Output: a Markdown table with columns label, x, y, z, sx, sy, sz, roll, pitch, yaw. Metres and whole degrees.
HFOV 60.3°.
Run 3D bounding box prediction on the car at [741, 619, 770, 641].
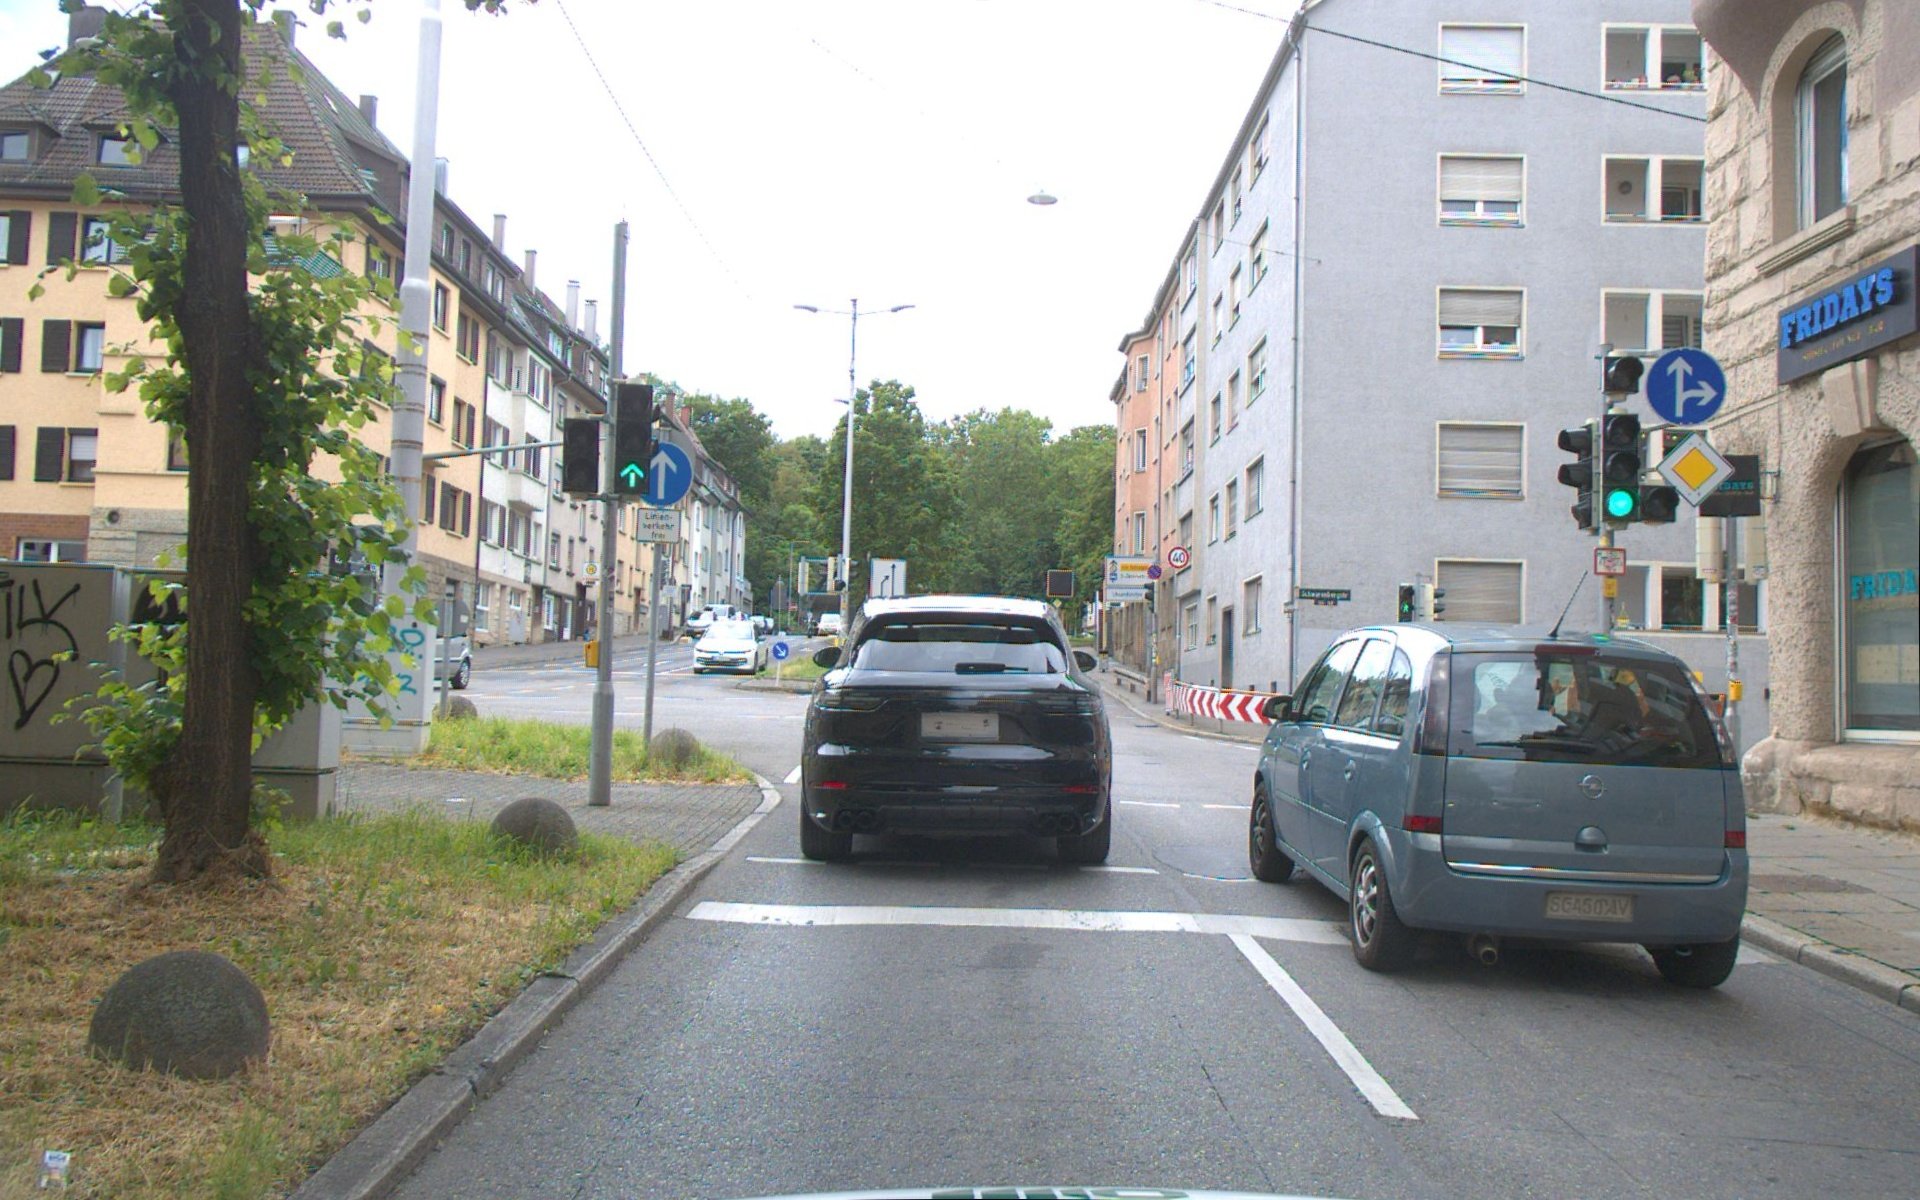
| label | x | y | z | sx | sy | sz | roll | pitch | yaw |
| --- | --- | --- | --- | --- | --- | --- | --- | --- | --- |
| car | -15.020 | 2.199 | 121.614 | 1.655 | 1.565 | 3.813 | 1 | -1 | 0 |

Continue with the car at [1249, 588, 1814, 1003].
| label | x | y | z | sx | sy | sz | roll | pitch | yaw |
| --- | --- | --- | --- | --- | --- | --- | --- | --- | --- |
| car | 2.723 | 0.845 | 8.767 | 1.596 | 1.625 | 3.668 | 4 | -1 | -1 |

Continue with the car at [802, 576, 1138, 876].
| label | x | y | z | sx | sy | sz | roll | pitch | yaw |
| --- | --- | --- | --- | --- | --- | --- | --- | --- | --- |
| car | 0.033 | 0.748 | 11.465 | 1.916 | 1.704 | 3.999 | 0 | -1 | -1 |

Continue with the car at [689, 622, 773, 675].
| label | x | y | z | sx | sy | sz | roll | pitch | yaw |
| --- | --- | --- | --- | --- | --- | --- | --- | --- | --- |
| car | -6.512 | 1.365 | 47.443 | 1.824 | 1.412 | 4.093 | 1 | -1 | 0 |

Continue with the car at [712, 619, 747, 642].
| label | x | y | z | sx | sy | sz | roll | pitch | yaw |
| --- | --- | --- | --- | --- | --- | --- | --- | --- | --- |
| car | -14.894 | 1.973 | 107.104 | 1.703 | 1.411 | 3.813 | 1 | -1 | 0 |

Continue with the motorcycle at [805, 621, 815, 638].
| label | x | y | z | sx | sy | sz | roll | pitch | yaw |
| --- | --- | --- | --- | --- | --- | --- | --- | --- | --- |
| motorcycle | -9.318 | 1.829 | 102.935 | 0.501 | 1.059 | 1.389 | 1 | -1 | 0 |

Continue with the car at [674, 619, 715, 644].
| label | x | y | z | sx | sy | sz | roll | pitch | yaw |
| --- | --- | --- | --- | --- | --- | --- | --- | --- | --- |
| car | -15.311 | 1.806 | 95.514 | 1.703 | 1.411 | 3.813 | 1 | -1 | 0 |

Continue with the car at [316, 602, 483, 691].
| label | x | y | z | sx | sy | sz | roll | pitch | yaw |
| --- | --- | --- | --- | --- | --- | --- | --- | --- | --- |
| car | -10.218 | 0.859 | 30.429 | 1.585 | 1.506 | 3.824 | 1 | -2 | 3 |

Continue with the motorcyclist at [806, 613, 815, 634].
| label | x | y | z | sx | sy | sz | roll | pitch | yaw |
| --- | --- | --- | --- | --- | --- | --- | --- | --- | --- |
| motorcyclist | -9.311 | 1.468 | 102.904 | 0.501 | 1.247 | 0.467 | 1 | -1 | -1 |

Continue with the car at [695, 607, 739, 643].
| label | x | y | z | sx | sy | sz | roll | pitch | yaw |
| --- | --- | --- | --- | --- | --- | --- | --- | --- | --- |
| car | -14.853 | 1.527 | 101.258 | 1.975 | 2.081 | 4.666 | 1 | -1 | 0 |

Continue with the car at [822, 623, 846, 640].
| label | x | y | z | sx | sy | sz | roll | pitch | yaw |
| --- | --- | --- | --- | --- | --- | --- | --- | --- | --- |
| car | -9.721 | 2.406 | 127.715 | 1.519 | 1.279 | 3.662 | 1 | -1 | 0 |
